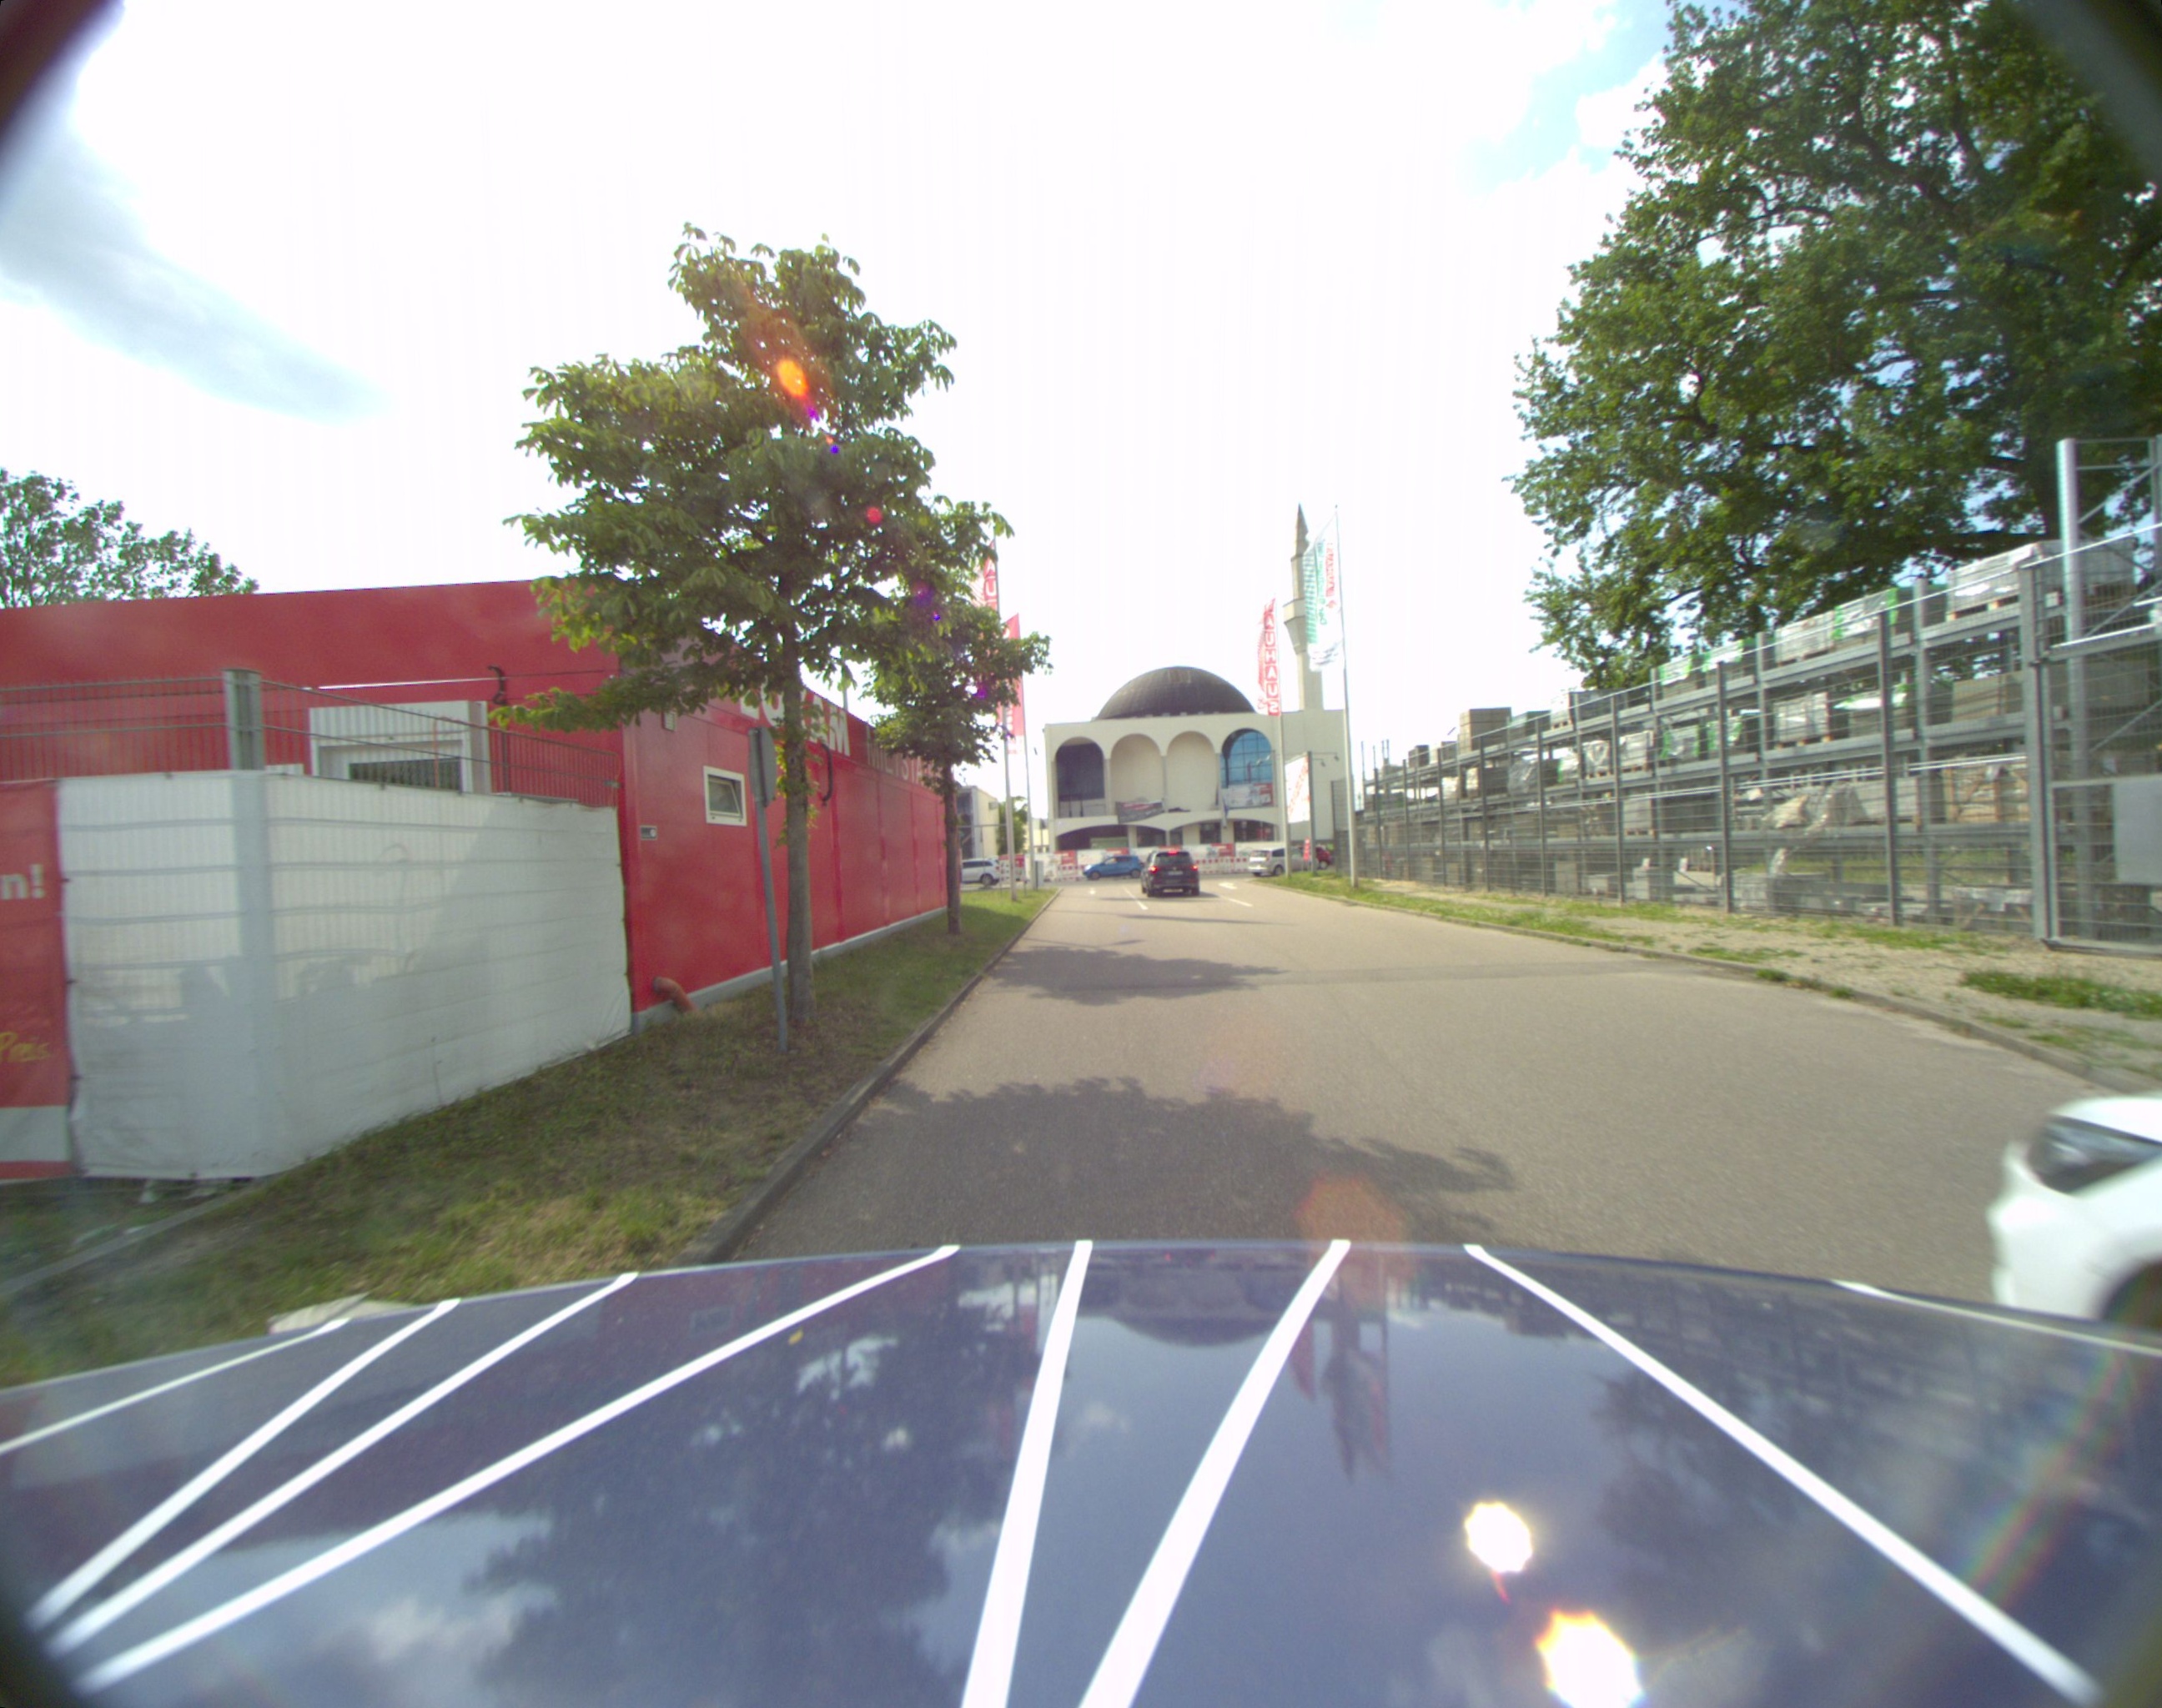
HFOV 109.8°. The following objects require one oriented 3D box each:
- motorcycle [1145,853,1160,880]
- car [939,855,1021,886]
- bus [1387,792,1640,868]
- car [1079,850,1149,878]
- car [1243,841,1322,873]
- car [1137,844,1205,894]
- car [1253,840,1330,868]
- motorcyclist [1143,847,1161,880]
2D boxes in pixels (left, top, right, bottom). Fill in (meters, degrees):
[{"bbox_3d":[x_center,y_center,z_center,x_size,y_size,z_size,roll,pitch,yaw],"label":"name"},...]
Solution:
[{"bbox_3d":[3.611,0.615,38.540,0.671,1.298,2.213,-3,1,4],"label":"motorcycle"},{"bbox_3d":[-6.221,1.019,47.332,4.836,1.689,1.868,-2,-1,-2],"label":"car"},{"bbox_3d":[22.736,-1.229,40.404,11.558,3.345,2.893,-3,1,2],"label":"bus"},{"bbox_3d":[2.053,0.597,47.108,4.192,1.505,1.697,-3,1,2],"label":"car"},{"bbox_3d":[11.271,0.142,42.389,4.215,1.555,1.719,-3,1,-30],"label":"car"},{"bbox_3d":[3.223,0.519,27.882,1.920,1.608,4.373,-2,0,0],"label":"car"},{"bbox_3d":[12.993,0.019,47.062,4.190,1.501,1.792,-3,1,2],"label":"car"},{"bbox_3d":[3.590,0.459,38.374,0.788,1.619,0.686,-3,1,4],"label":"motorcyclist"}]
